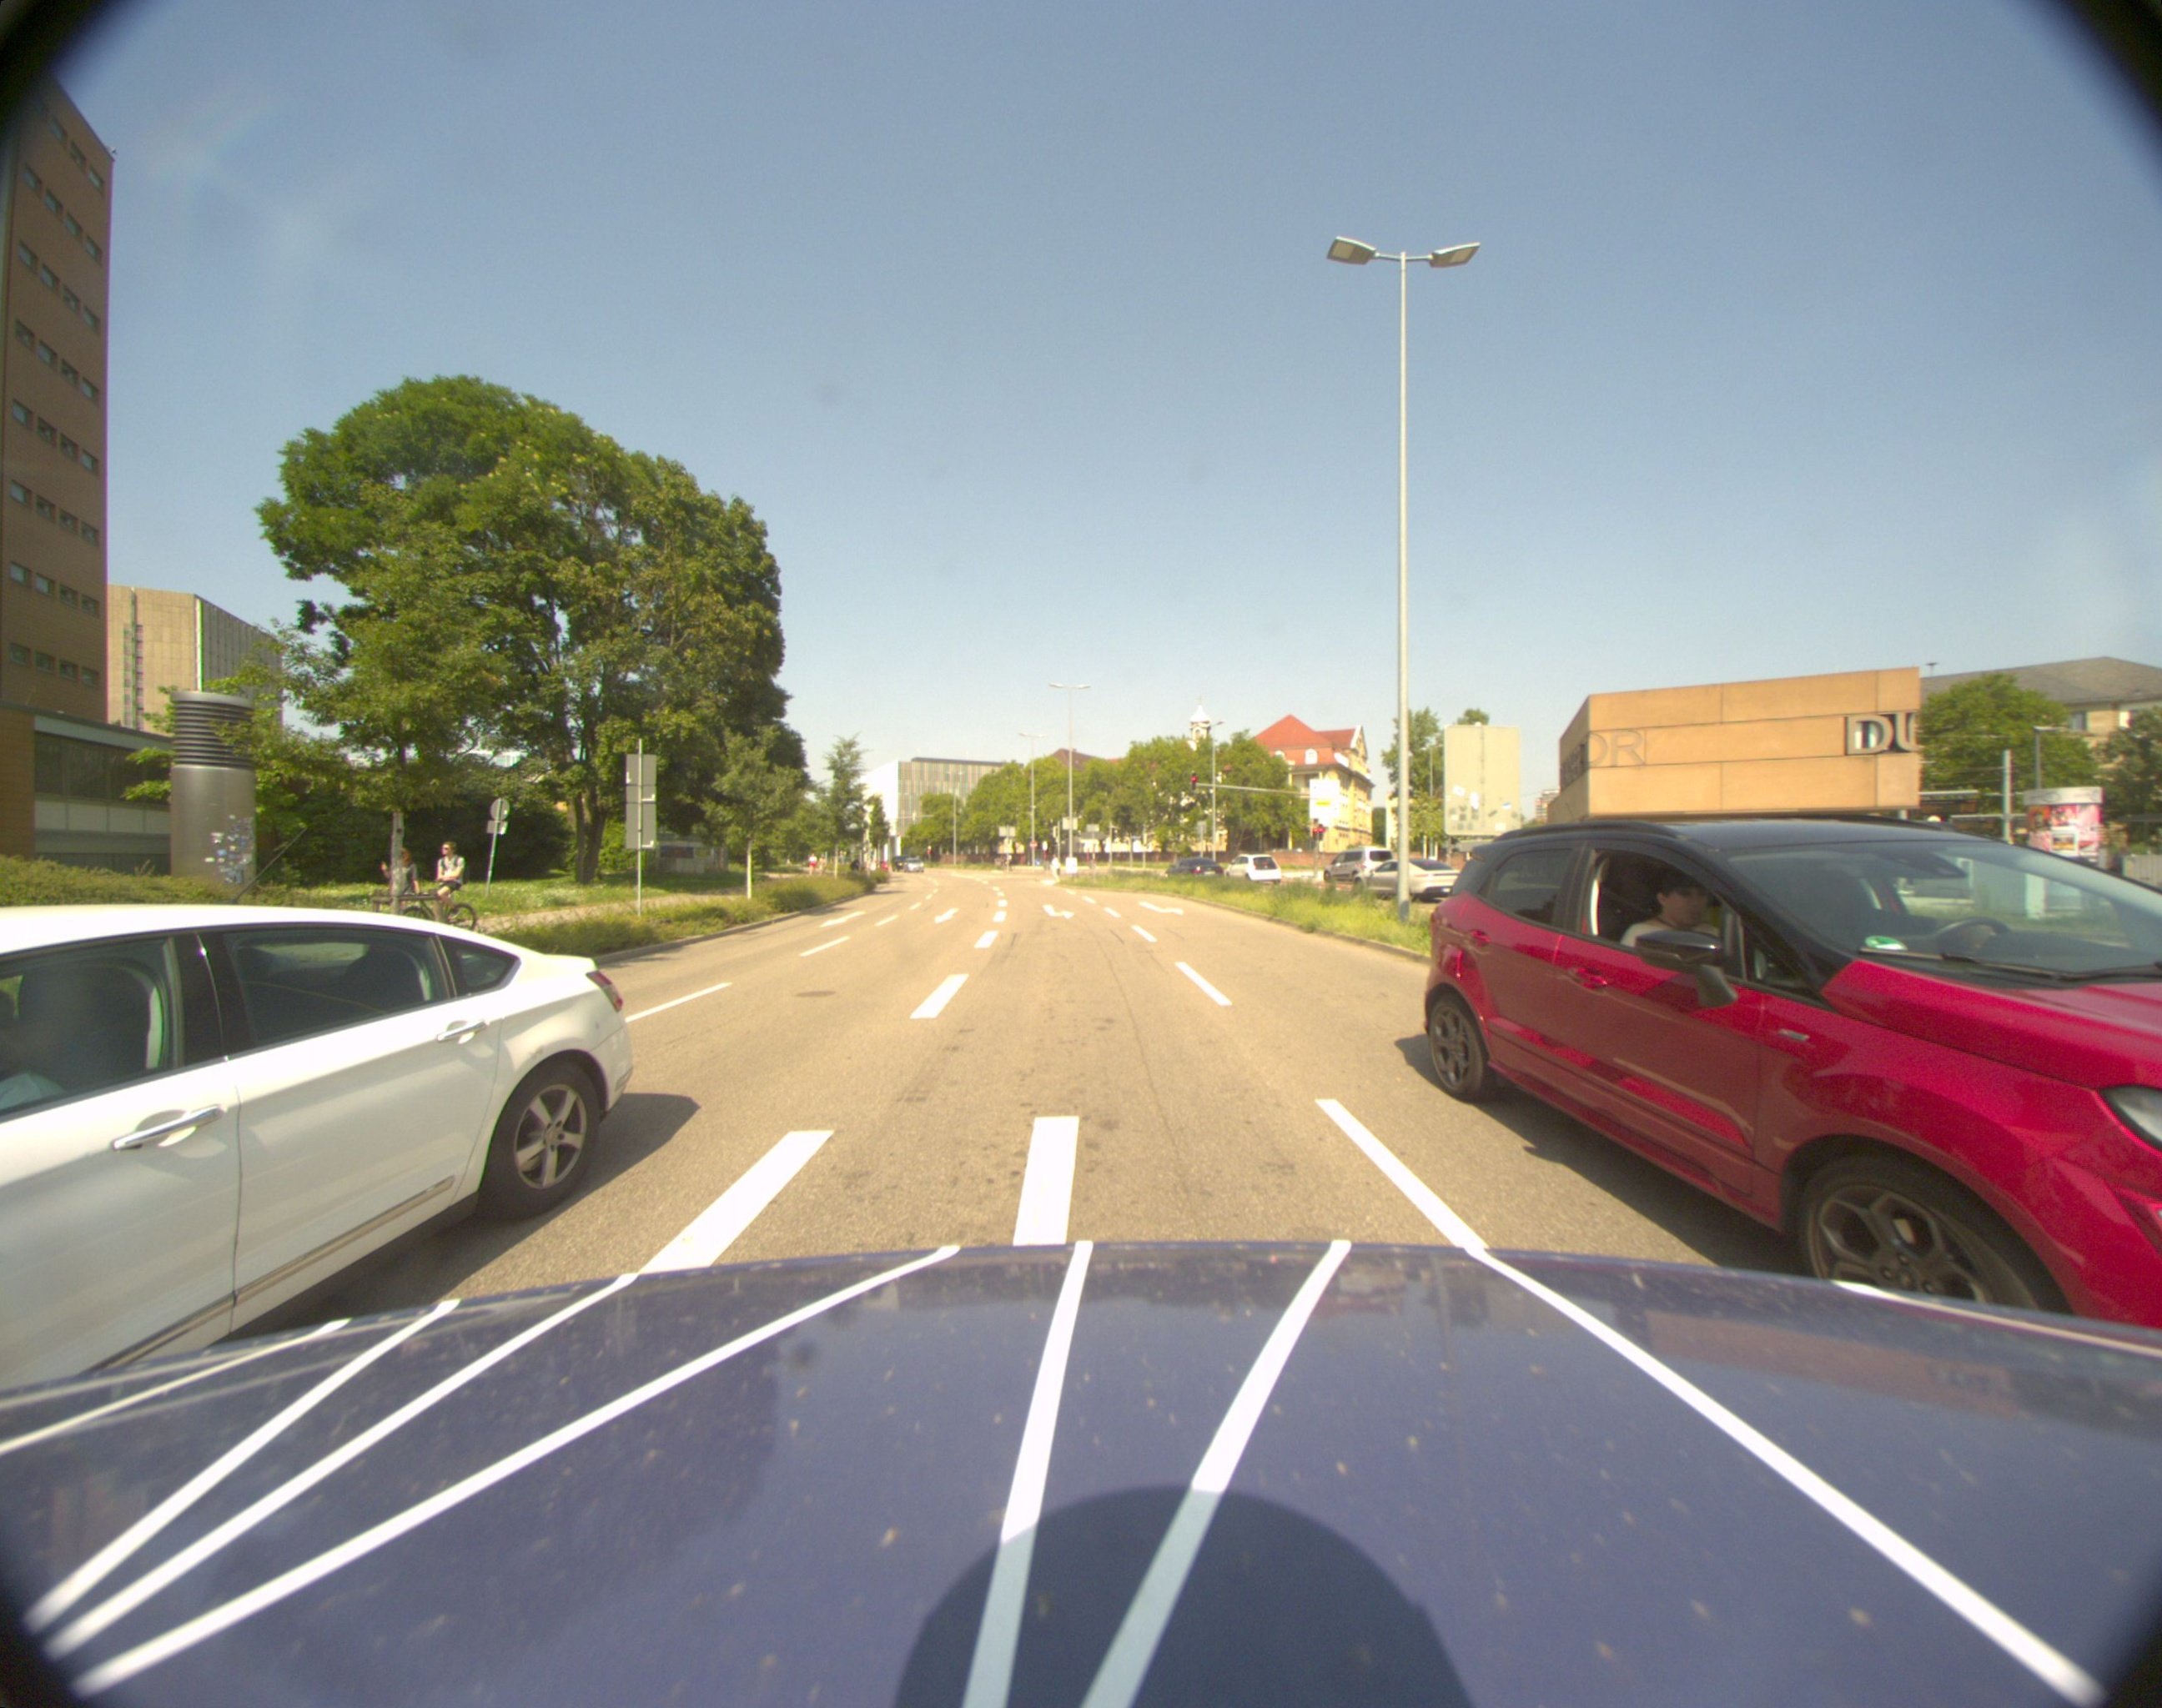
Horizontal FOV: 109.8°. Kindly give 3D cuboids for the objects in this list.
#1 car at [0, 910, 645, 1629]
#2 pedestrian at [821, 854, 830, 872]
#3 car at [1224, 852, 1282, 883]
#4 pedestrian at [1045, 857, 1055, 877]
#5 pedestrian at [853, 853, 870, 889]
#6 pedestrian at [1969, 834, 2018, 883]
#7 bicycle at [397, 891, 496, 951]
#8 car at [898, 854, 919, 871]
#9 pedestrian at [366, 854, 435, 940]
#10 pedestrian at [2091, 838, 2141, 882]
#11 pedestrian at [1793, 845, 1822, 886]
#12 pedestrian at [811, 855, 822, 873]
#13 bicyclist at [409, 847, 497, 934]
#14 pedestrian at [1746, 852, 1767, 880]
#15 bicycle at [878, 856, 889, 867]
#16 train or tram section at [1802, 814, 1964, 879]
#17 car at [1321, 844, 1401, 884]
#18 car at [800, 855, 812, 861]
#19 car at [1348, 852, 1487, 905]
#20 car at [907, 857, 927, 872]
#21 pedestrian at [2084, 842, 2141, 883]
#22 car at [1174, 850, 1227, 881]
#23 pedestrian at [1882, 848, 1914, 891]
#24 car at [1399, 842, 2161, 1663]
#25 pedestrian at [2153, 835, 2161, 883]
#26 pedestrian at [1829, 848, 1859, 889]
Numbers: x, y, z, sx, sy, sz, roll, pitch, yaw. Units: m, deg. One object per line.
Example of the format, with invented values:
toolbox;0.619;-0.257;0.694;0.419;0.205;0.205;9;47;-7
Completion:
car;-3.291;1.017;1.755;1.773;1.420;4.610;0;0;2
pedestrian;-18.889;0.692;56.193;0.577;1.291;0.436;-3;1;-22
car;8.654;0.661;38.420;1.527;1.470;3.473;0;0;-13
pedestrian;-1.981;0.824;48.562;0.605;1.291;0.617;-2;1;-4
pedestrian;-11.721;0.899;40.546;0.823;1.892;0.630;-1;1;-12
pedestrian;27.950;0.132;23.289;0.771;1.488;0.606;0;1;-1
bicycle;-11.943;1.240;14.374;0.357;0.974;1.782;0;0;1
car;-20.459;0.997;90.060;1.893;1.908;4.526;-2;0;-20
pedestrian;-13.680;0.837;15.297;0.672;1.689;0.805;0;1;-5
pedestrian;43.770;0.238;32.150;0.927;1.812;0.939;0;1;28
pedestrian;26.703;0.433;27.930;0.539;1.488;0.541;0;1;-1
pedestrian;-19.436;0.724;55.831;0.635;1.291;0.486;-3;1;-21
bicyclist;-11.936;0.669;14.474;0.904;1.596;0.924;0;1;-1
pedestrian;26.926;0.459;30.298;0.538;1.093;0.543;0;1;32
bicycle;-20.981;0.813;80.746;0.594;1.162;2.235;0;0;-3
train or tram section;48.144;-0.406;46.261;2.698;3.418;13.446;0;0;28
car;13.708;0.437;37.445;1.869;1.843;3.911;0;1;-12
car;-69.294;0.986;191.494;1.877;1.521;4.522;0;0;-31
car;10.925;0.720;25.098;2.000;1.576;4.711;0;0;-8
car;-17.994;1.132;83.345;1.661;1.521;4.526;-2;0;-18
pedestrian;43.700;0.353;32.215;1.076;1.686;1.066;0;1;28
car;5.699;0.537;36.514;1.526;1.417;3.474;0;0;-8
pedestrian;28.770;0.545;26.763;0.539;1.488;0.541;0;1;-1
car;2.941;0.775;3.014;1.694;1.577;3.844;-2;0;0
pedestrian;41.084;0.176;28.512;0.804;1.812;0.534;0;1;28
pedestrian;27.933;0.520;27.818;0.539;1.488;0.541;0;1;-1
